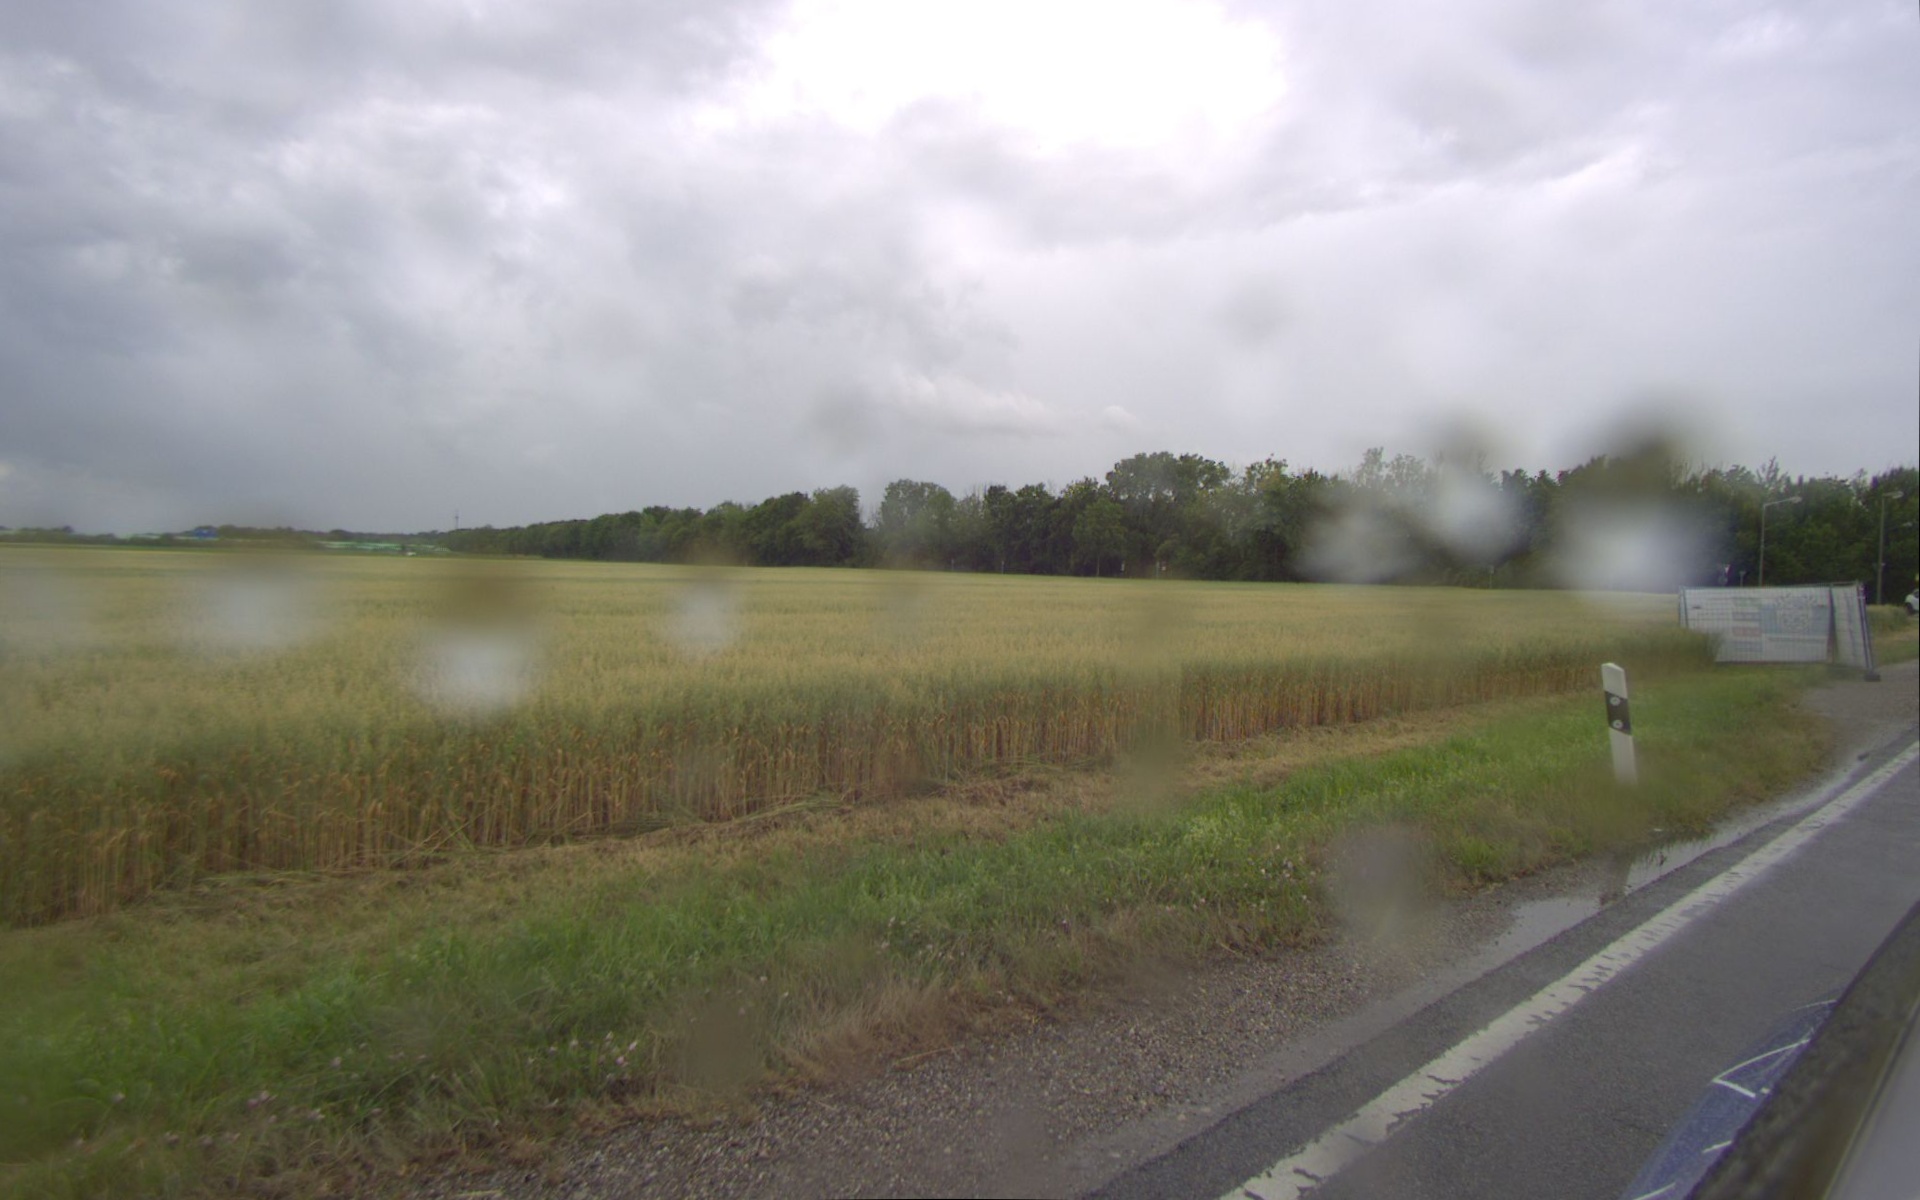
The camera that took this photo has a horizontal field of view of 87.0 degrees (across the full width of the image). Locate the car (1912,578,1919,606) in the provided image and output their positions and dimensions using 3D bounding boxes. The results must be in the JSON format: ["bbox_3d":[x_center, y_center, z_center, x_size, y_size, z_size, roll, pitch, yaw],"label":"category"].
[{"bbox_3d":[53.622,-0.416,54.473,1.870,1.550,4.471,1,1,21],"label":"car"}]
